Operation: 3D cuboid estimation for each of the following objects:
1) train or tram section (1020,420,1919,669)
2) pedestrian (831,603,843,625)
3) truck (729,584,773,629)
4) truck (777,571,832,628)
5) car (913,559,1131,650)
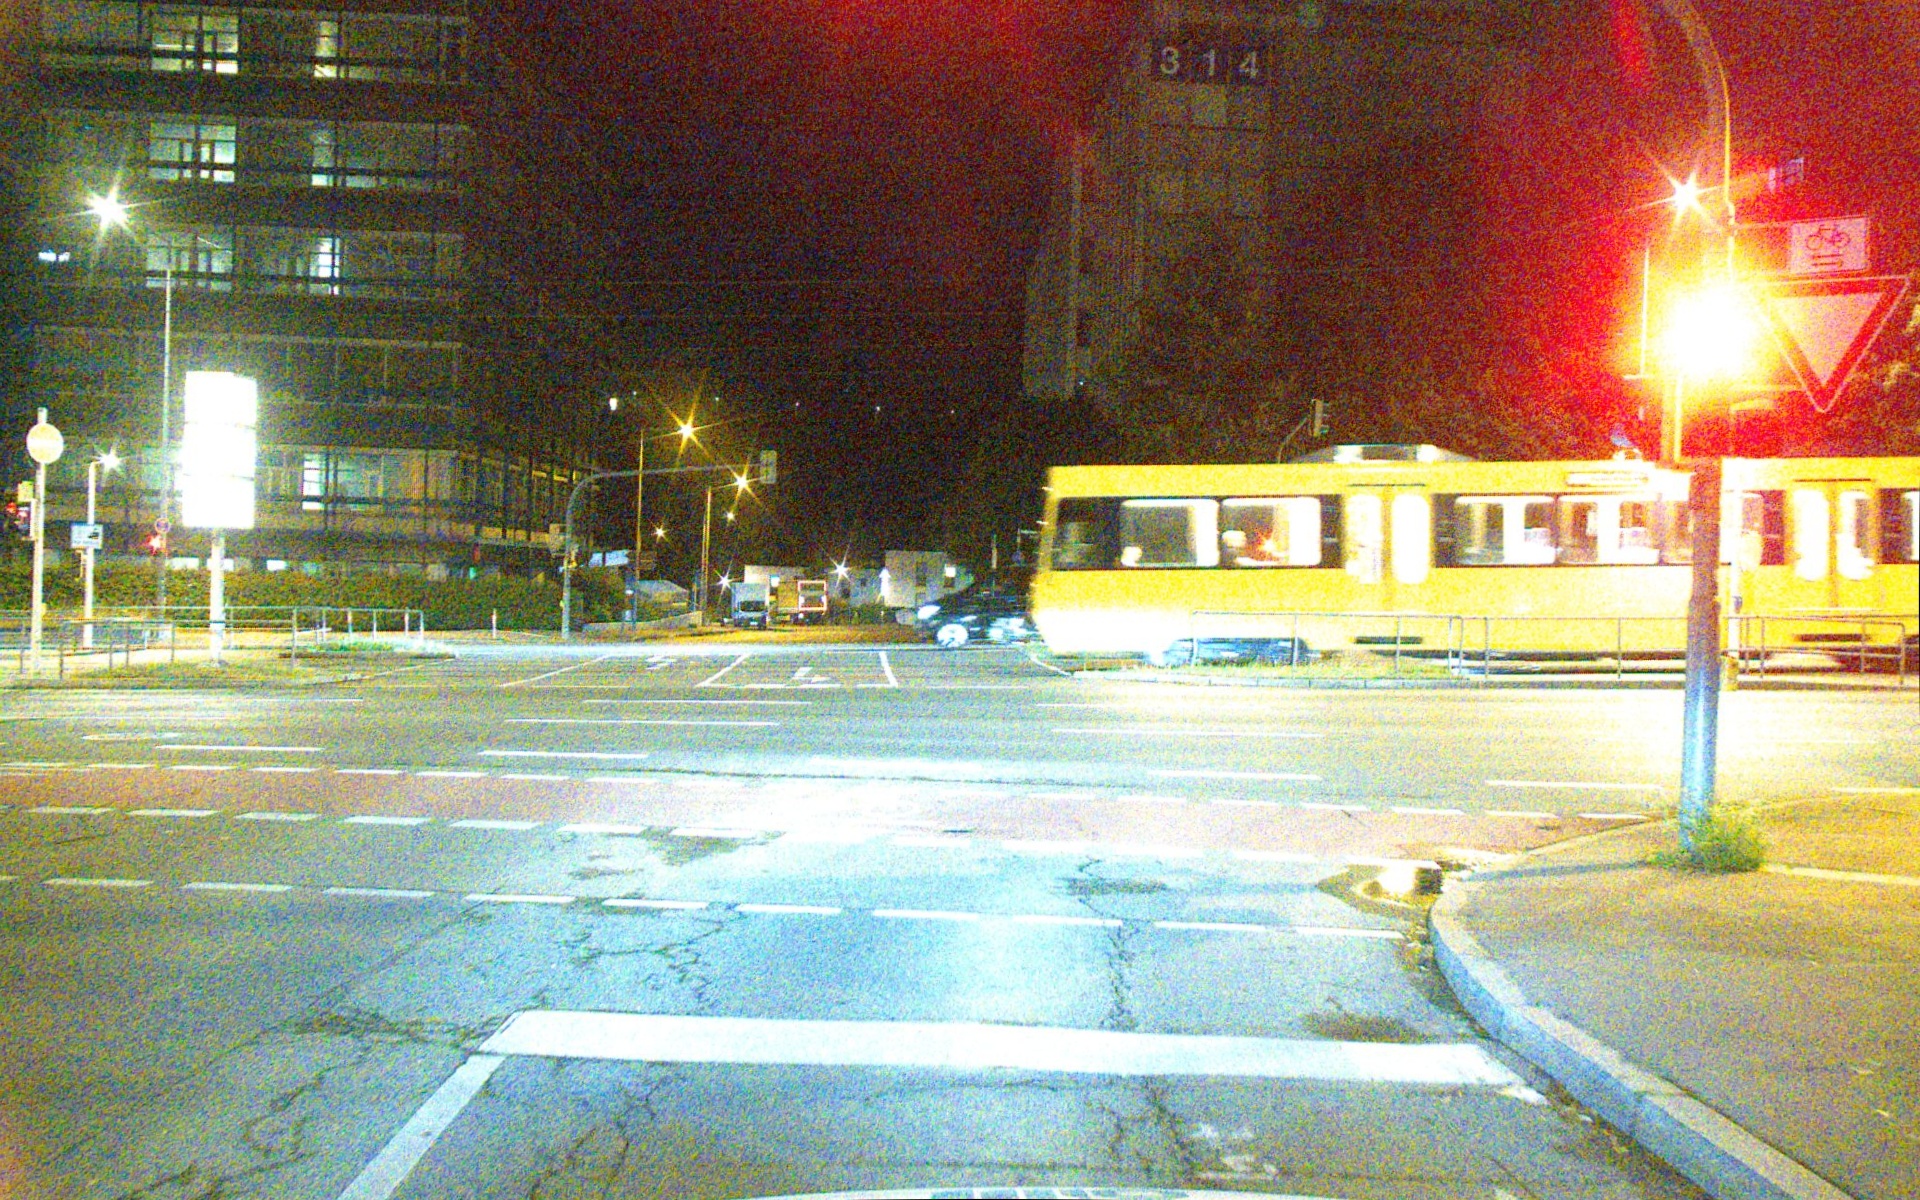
[{"bbox_3d":[10.091,-0.926,28.170,18.033,3.916,2.967,0,2,3],"label":"train or tram section"},{"bbox_3d":[-11.009,1.272,148.128,0.836,1.945,1.001,2,-1,-18],"label":"pedestrian"},{"bbox_3d":[-15.243,0.474,120.313,2.377,3.143,6.414,2,-1,-14],"label":"truck"},{"bbox_3d":[-14.116,0.011,149.564,3.307,4.927,7.868,2,-1,-17],"label":"truck"},{"bbox_3d":[1.461,0.104,37.917,4.839,1.917,1.870,1,-1,5],"label":"car"}]
